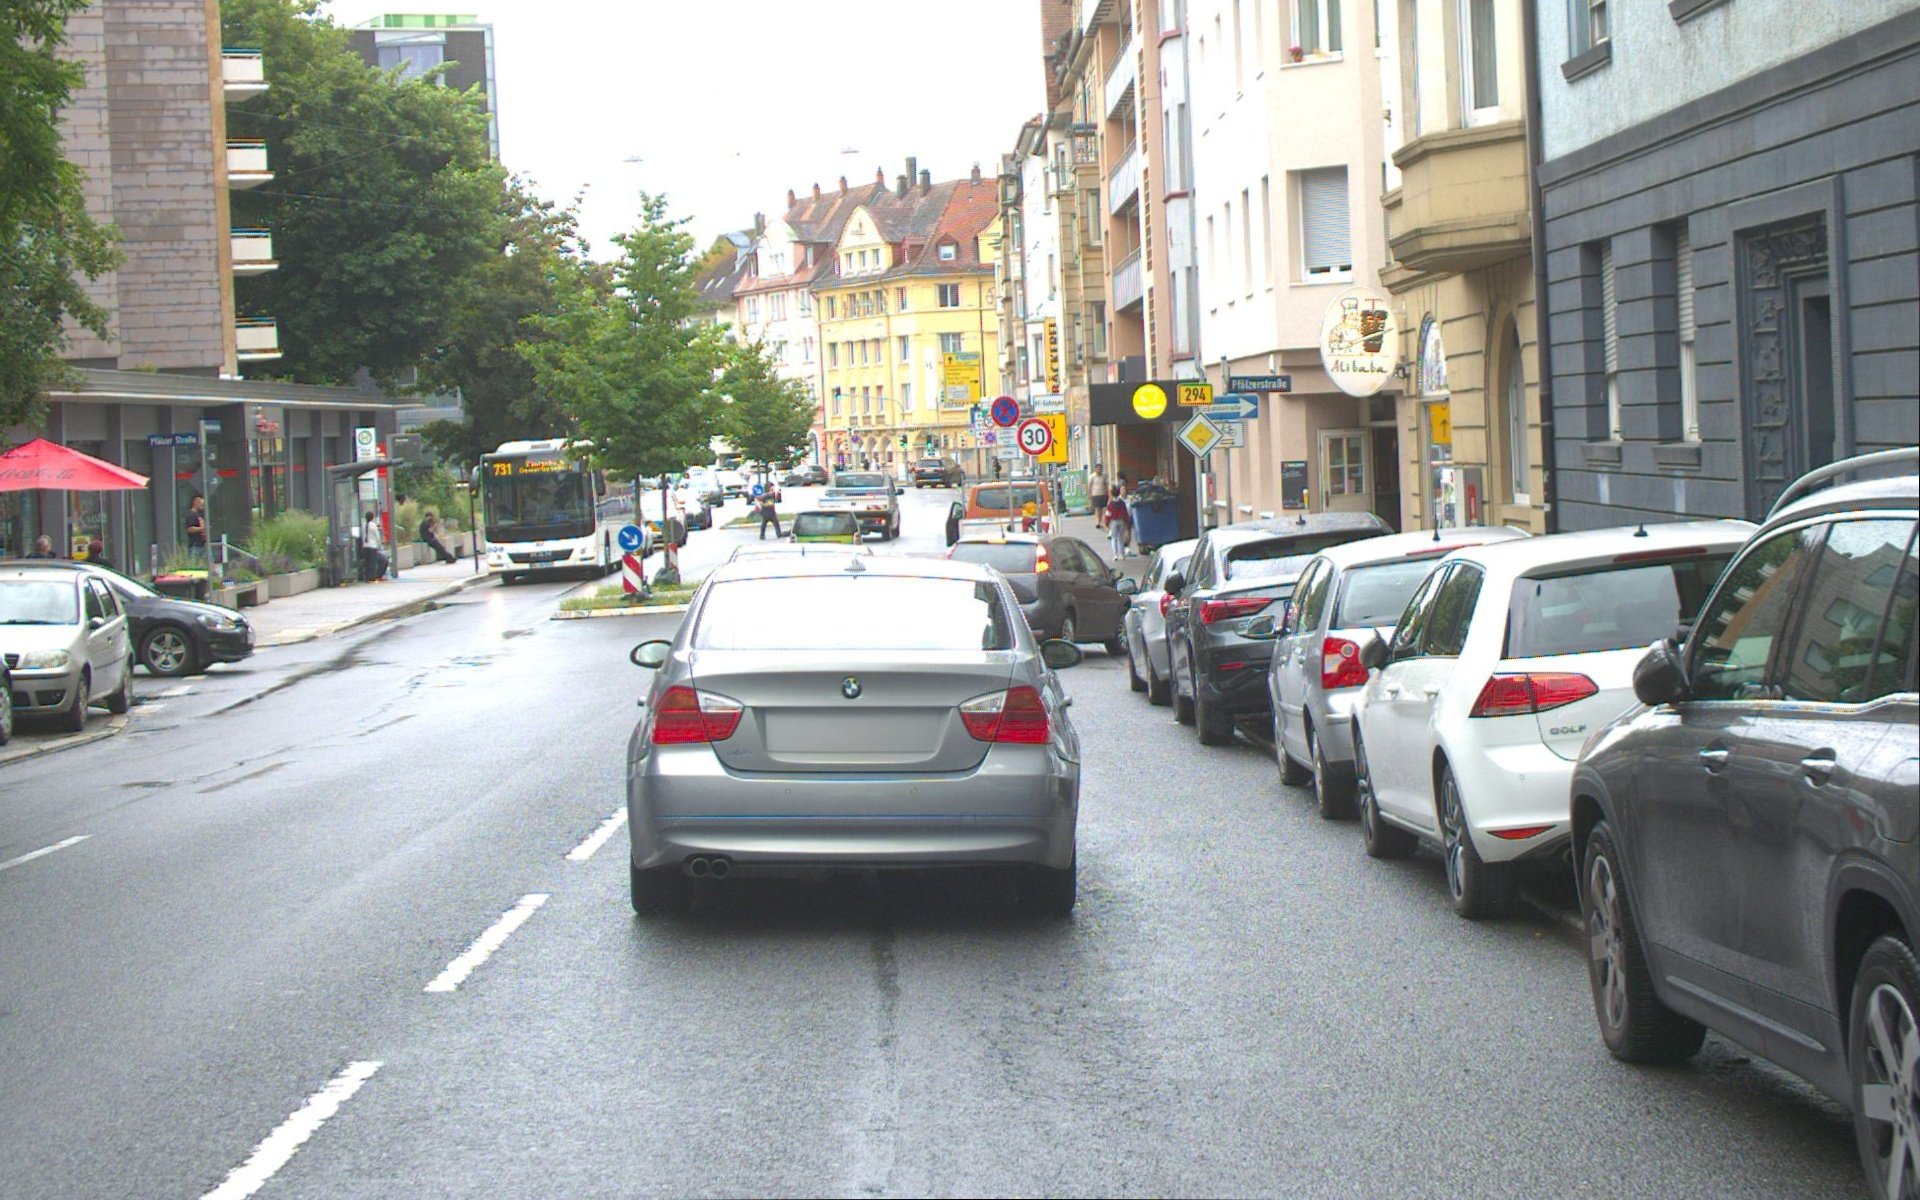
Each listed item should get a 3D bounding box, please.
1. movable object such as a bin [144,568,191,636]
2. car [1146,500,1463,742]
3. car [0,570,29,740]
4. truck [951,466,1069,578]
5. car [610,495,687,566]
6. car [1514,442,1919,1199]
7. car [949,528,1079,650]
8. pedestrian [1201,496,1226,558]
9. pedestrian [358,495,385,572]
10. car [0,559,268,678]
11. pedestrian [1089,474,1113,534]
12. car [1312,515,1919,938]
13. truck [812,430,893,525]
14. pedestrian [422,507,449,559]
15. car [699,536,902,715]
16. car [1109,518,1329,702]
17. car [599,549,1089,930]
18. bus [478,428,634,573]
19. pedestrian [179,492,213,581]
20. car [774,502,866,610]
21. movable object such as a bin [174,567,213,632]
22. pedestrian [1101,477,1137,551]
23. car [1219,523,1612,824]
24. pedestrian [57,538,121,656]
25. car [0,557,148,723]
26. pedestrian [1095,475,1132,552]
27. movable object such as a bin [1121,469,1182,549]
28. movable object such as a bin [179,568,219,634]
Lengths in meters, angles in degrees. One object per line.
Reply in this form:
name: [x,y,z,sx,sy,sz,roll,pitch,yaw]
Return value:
movable object such as a bin: [-13.057,0.029,56.648,0.554,1.077,0.731,-3,0,0]
car: [2.483,0.098,25.764,1.818,1.552,4.293,-4,1,0]
car: [-9.085,0.536,28.720,1.653,1.449,3.943,-2,1,-3]
truck: [1.040,-1.550,69.097,2.215,2.109,4.652,2,1,2]
car: [-9.257,-2.057,102.382,1.993,2.007,4.000,-1,0,-2]
car: [2.693,0.431,8.198,1.840,1.615,4.209,-3,1,-2]
car: [0.624,-0.140,40.505,1.435,1.352,3.762,1,0,1]
pedestrian: [5.123,-1.476,69.438,0.412,1.199,0.357,-4,3,2]
pedestrian: [-13.083,-1.468,76.458,0.542,1.703,0.466,1,0,-7]
car: [-10.527,0.219,42.004,3.815,1.385,1.743,-1,0,-1]
pedestrian: [3.957,-2.695,96.699,0.615,1.655,0.754,1,0,5]
car: [2.666,0.419,14.692,1.729,1.424,3.974,-5,1,-1]
truck: [-3.055,-3.438,97.630,2.216,2.535,4.780,1,0,-2]
pedestrian: [-14.041,-1.802,92.096,0.619,1.373,0.544,1,0,0]
car: [-1.370,0.191,29.207,1.601,1.415,3.288,1,0,-3]
car: [2.294,0.040,31.285,1.569,1.459,4.089,-4,1,0]
car: [-0.446,0.493,13.991,1.756,1.358,3.165,-1,0,-1]
bus: [-9.546,-2.258,82.387,2.681,3.189,11.957,1,0,-2]
pedestrian: [-15.473,-1.288,69.654,0.465,1.783,0.544,1,0,11]
car: [-2.726,-0.836,66.311,1.705,2.007,4.000,1,0,-3]
movable object such as a bin: [-13.046,-0.007,58.530,0.490,1.077,0.606,-3,0,0]
pedestrian: [3.625,-1.961,78.424,0.749,1.655,0.836,1,0,5]
car: [2.491,0.340,19.567,1.583,1.424,3.595,-5,1,-1]
pedestrian: [-13.016,-0.048,51.365,0.739,1.703,0.680,-5,2,-19]
car: [-9.008,0.355,33.262,1.631,1.449,3.840,-2,1,-5]
pedestrian: [3.331,-1.875,74.542,0.750,1.655,0.755,1,0,0]
movable object such as a bin: [4.237,-2.010,76.110,1.122,1.697,1.434,-3,0,-3]
movable object such as a bin: [-12.787,0.019,57.771,0.490,1.077,0.606,-3,0,0]
